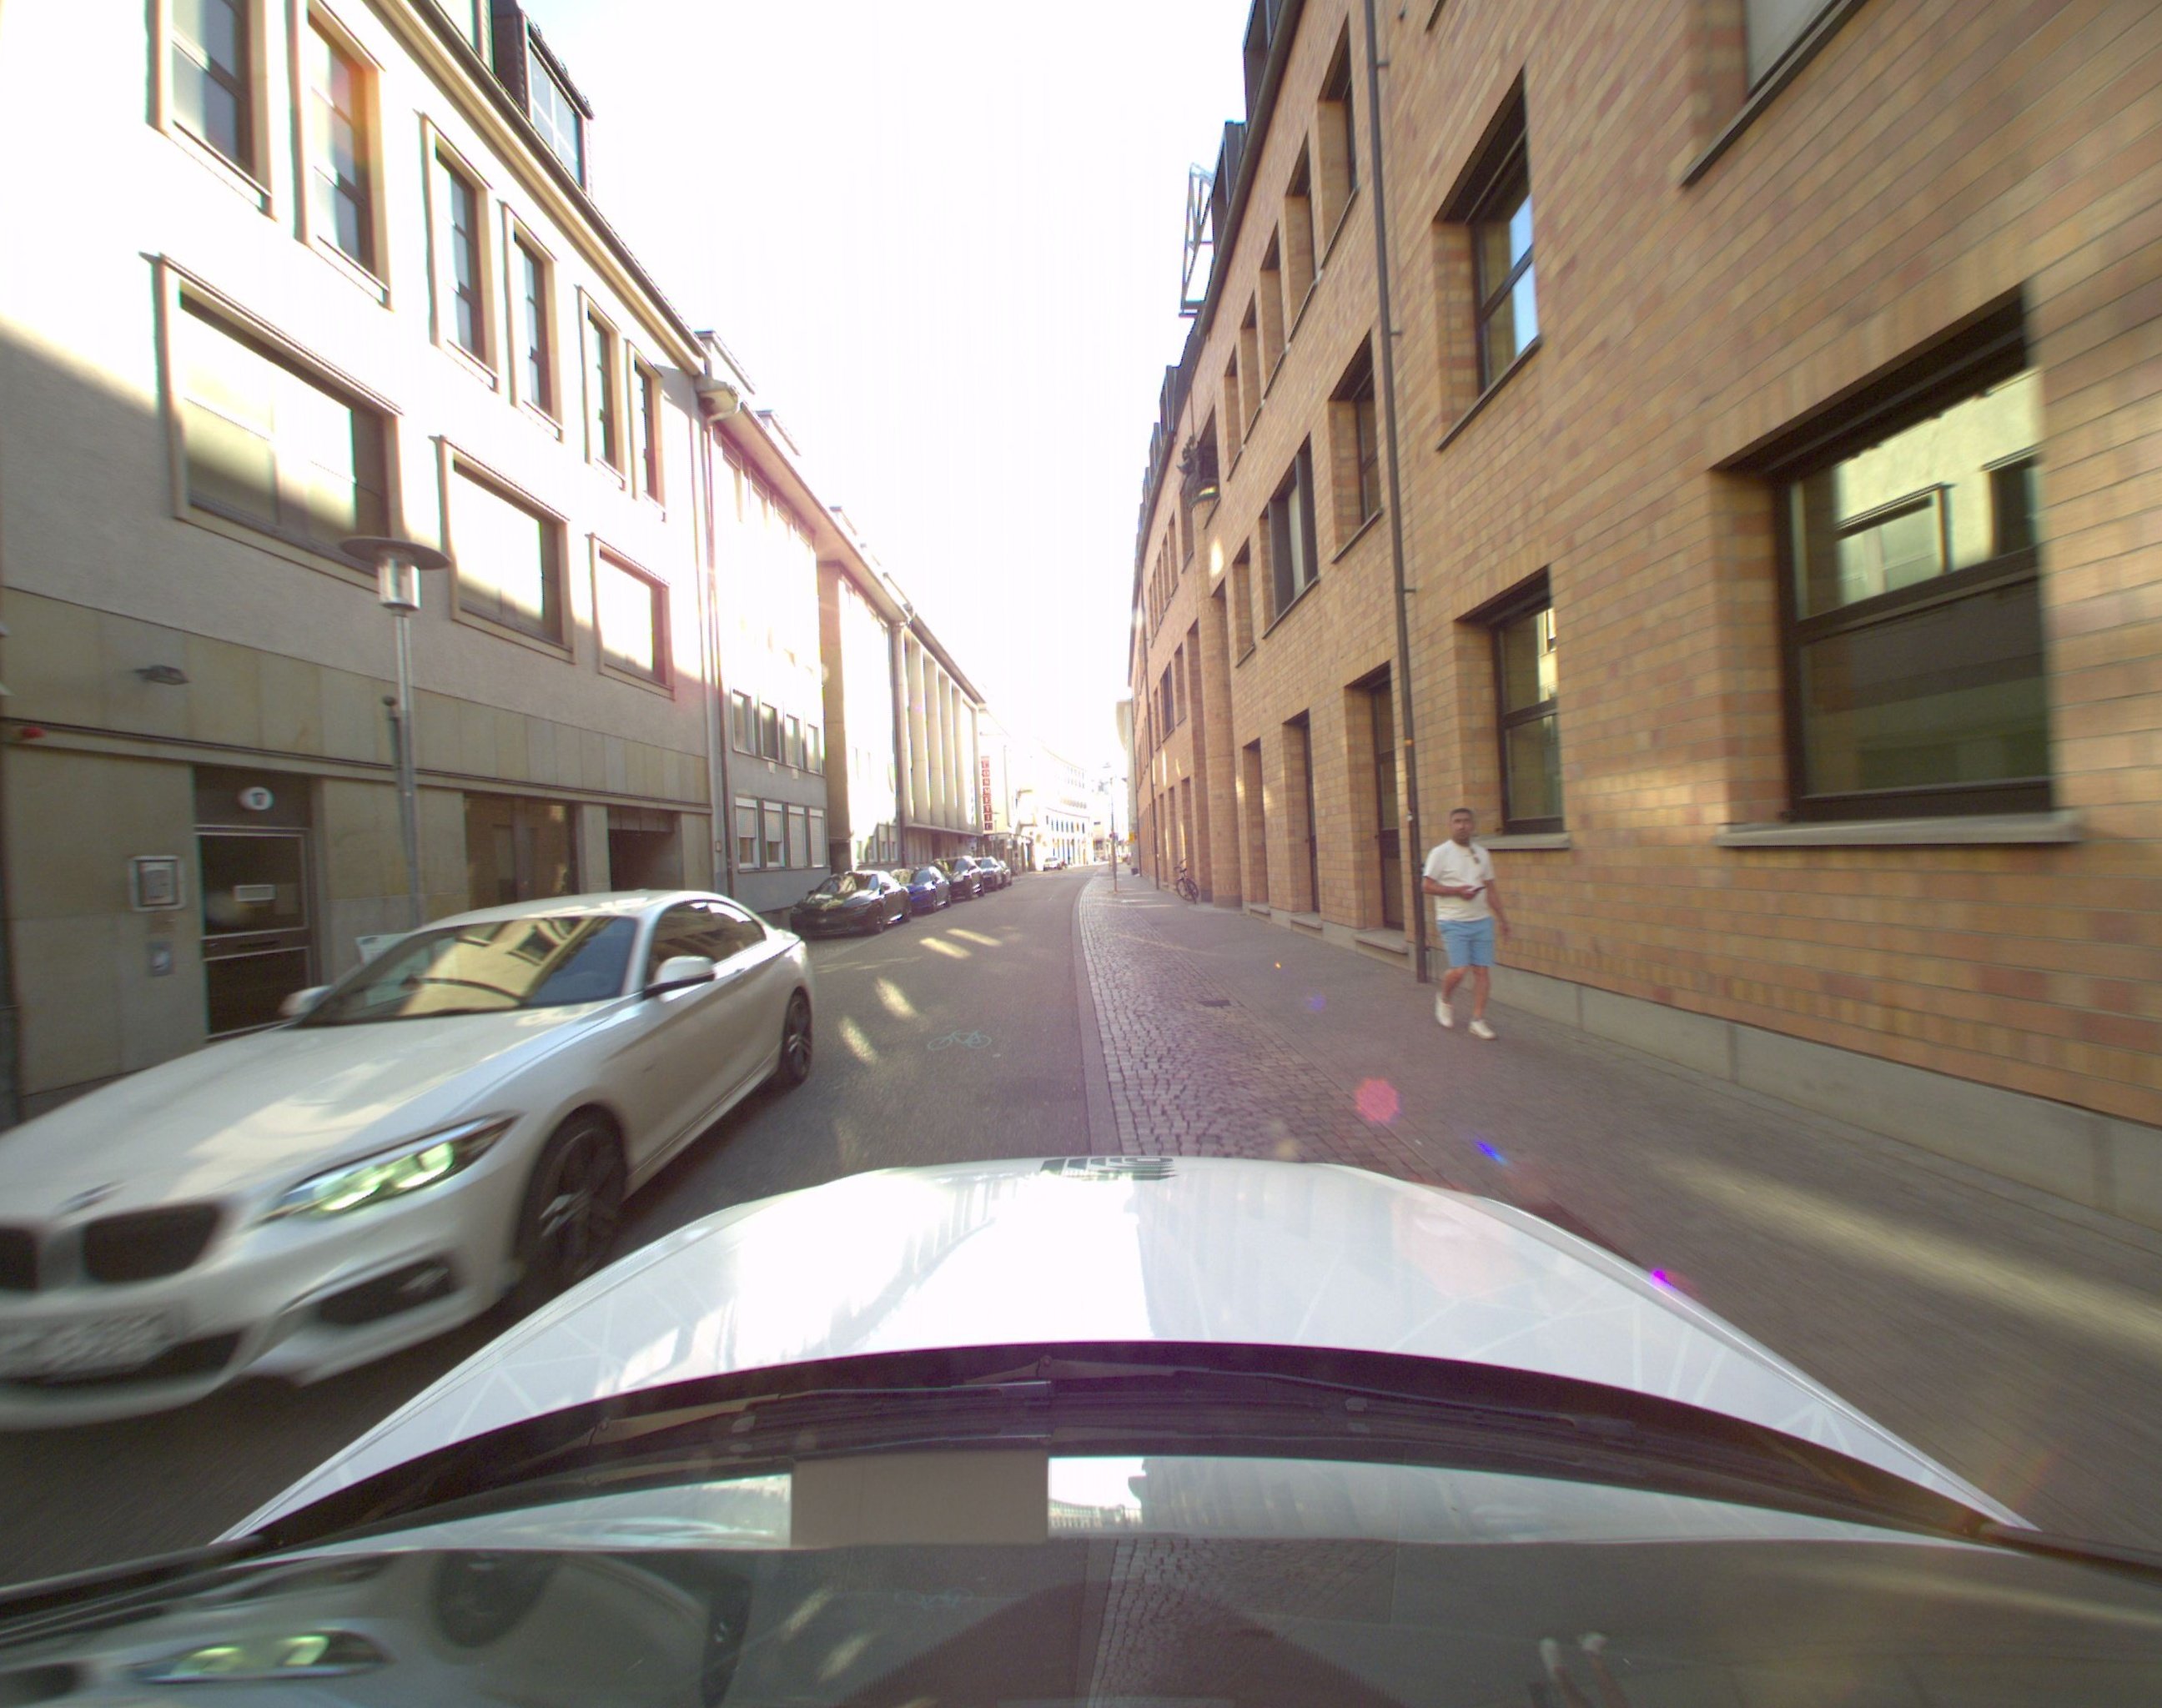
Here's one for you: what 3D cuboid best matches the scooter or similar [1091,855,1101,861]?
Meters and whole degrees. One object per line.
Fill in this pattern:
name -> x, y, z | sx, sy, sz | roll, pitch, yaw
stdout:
scooter or similar -> 2.424, 0.688, 131.040 | 0.520, 0.928, 2.242 | -2, 0, 32

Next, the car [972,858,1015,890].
car -> -4.694, 1.040, 44.285 | 1.642, 1.460, 4.001 | -6, 0, 2

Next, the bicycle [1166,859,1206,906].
bicycle -> 2.727, 0.717, 21.317 | 0.548, 1.103, 1.979 | -6, 0, -4

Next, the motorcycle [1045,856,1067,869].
motorcycle -> -2.920, 1.019, 95.918 | 2.382, 1.317, 0.862 | -4, 0, 1

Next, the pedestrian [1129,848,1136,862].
pedestrian -> 7.115, 0.157, 112.769 | 0.663, 1.869, 0.754 | -1, -1, -28

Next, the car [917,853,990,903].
car -> -4.864, 0.874, 31.793 | 1.883, 1.675, 4.556 | -4, 0, 2

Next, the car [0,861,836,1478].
car -> -2.721, 0.873, 4.249 | 1.710, 1.517, 4.156 | -4, 0, -3

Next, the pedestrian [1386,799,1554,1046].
pedestrian -> 2.955, 0.491, 6.274 | 0.758, 1.716, 0.821 | -5, 0, -2

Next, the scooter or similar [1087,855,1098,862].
scooter or similar -> 1.778, 0.717, 127.575 | 0.520, 0.928, 2.242 | -2, 0, 32

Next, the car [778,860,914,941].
car -> -5.415, 0.995, 19.453 | 1.885, 1.530, 4.726 | -4, 0, -2

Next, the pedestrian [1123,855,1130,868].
pedestrian -> 6.534, 1.024, 117.952 | 0.663, 1.869, 0.779 | -1, -1, -28

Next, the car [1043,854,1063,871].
car -> -2.856, 0.878, 84.881 | 1.729, 1.606, 3.535 | -2, 0, 3

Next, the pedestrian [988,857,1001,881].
pedestrian -> -5.835, 1.013, 54.908 | 0.650, 1.625, 0.452 | -3, 0, -40

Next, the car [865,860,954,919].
car -> -5.276, 1.028, 25.585 | 1.885, 1.530, 4.337 | -4, 0, -2

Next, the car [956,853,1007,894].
car -> -4.740, 0.881, 39.243 | 1.885, 1.742, 4.388 | -4, 0, -1

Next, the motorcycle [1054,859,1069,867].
motorcycle -> -2.193, 0.979, 92.208 | 1.682, 0.859, 0.595 | -1, -1, 6
